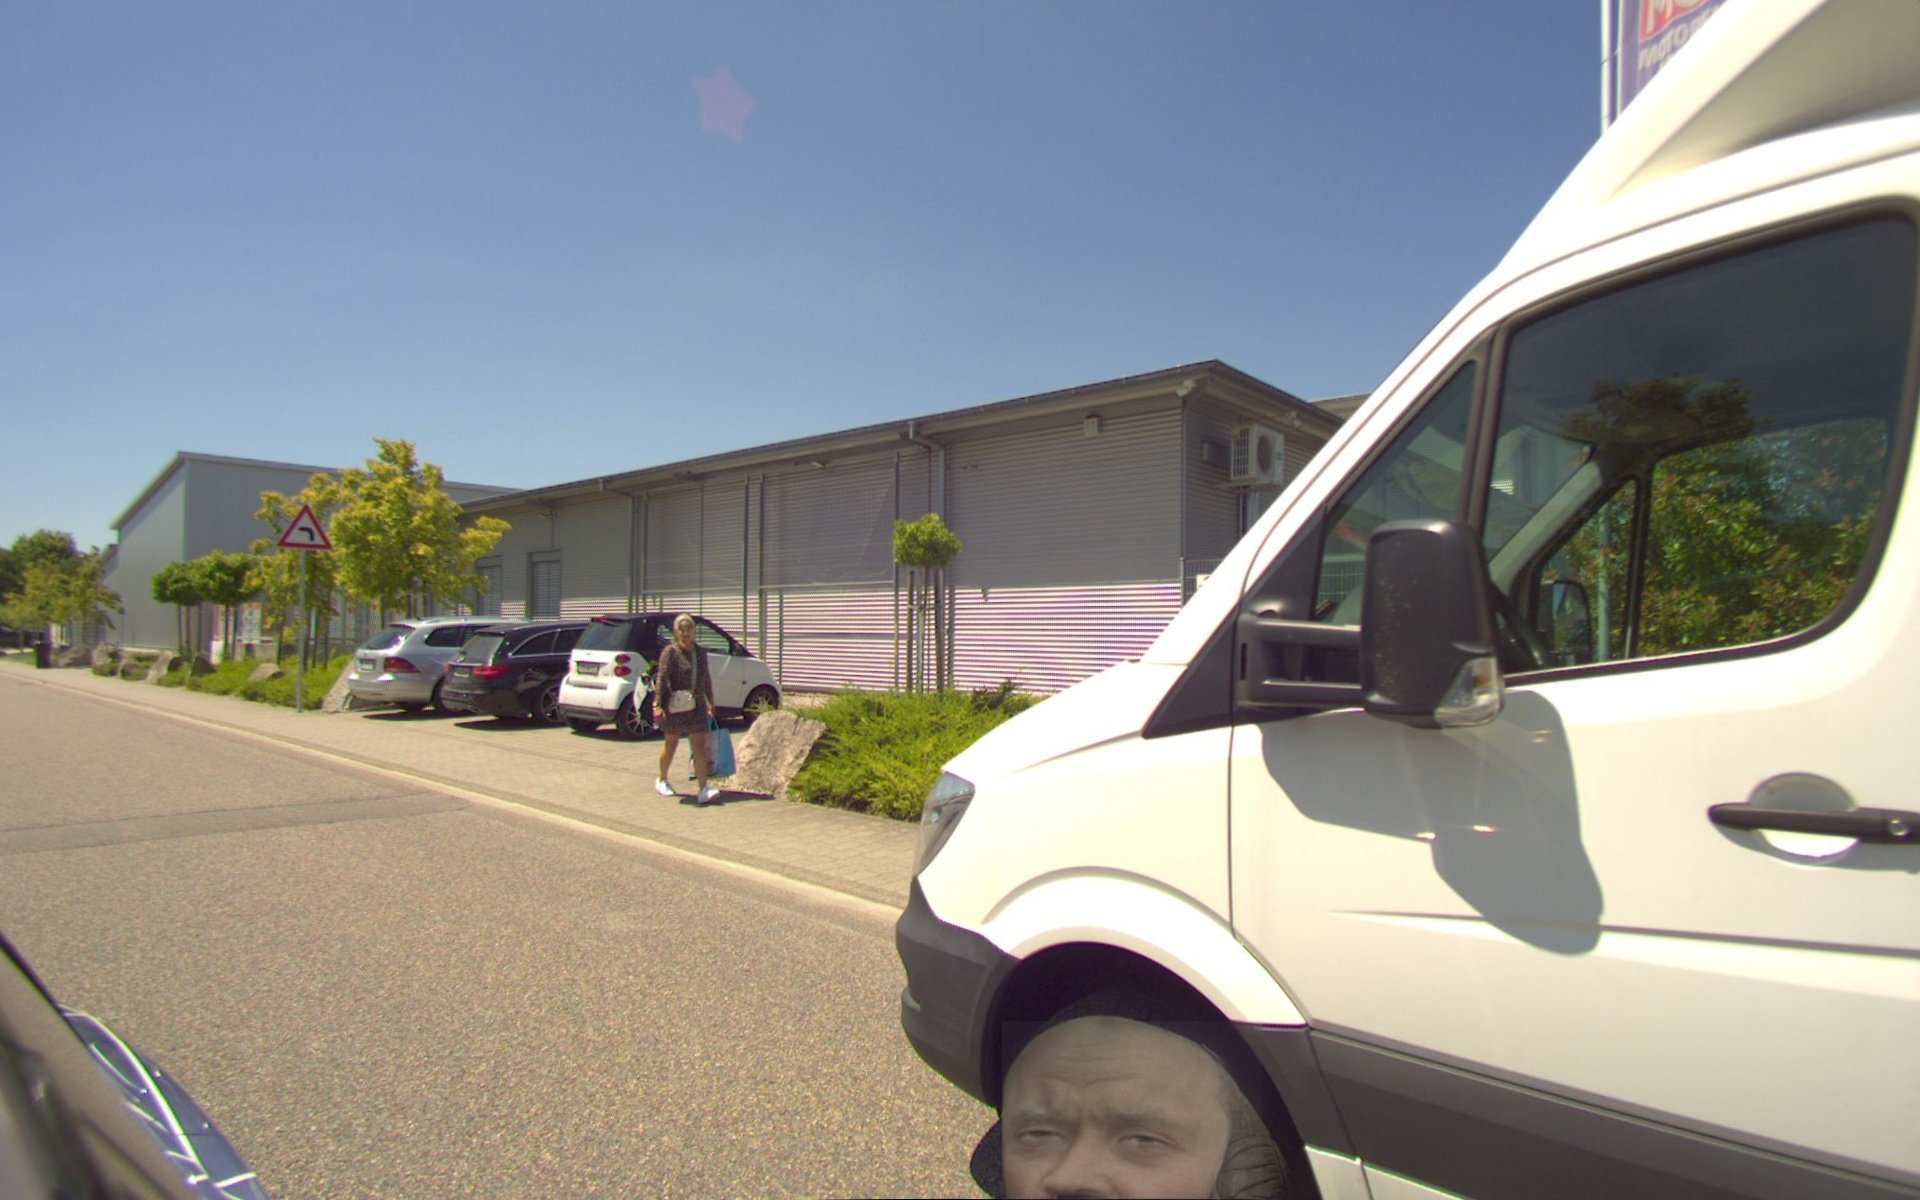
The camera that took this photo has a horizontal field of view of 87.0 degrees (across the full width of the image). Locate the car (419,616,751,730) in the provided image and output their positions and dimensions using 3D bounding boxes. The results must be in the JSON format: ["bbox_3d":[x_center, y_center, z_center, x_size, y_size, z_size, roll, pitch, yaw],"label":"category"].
[{"bbox_3d":[-5.415,0.985,15.054,1.846,1.442,4.262,-1,-2,42],"label":"car"}]

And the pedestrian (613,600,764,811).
[{"bbox_3d":[-2.206,0.802,8.248,0.785,1.586,0.889,-2,-1,42],"label":"pedestrian"}]

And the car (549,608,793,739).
[{"bbox_3d":[-3.755,0.904,13.380,1.534,1.529,2.713,-1,-2,40],"label":"car"}]

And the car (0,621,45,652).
[{"bbox_3d":[-56.955,2.231,59.737,1.781,1.671,4.120,-1,3,41],"label":"car"}]

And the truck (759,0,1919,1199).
[{"bbox_3d":[2.721,-0.029,1.184,6.413,2.882,2.336,-1,-4,42],"label":"truck"}]

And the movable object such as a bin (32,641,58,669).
[{"bbox_3d":[-32.000,1.904,35.386,0.511,0.957,0.565,-2,-2,36],"label":"movable object such as a bin"}]

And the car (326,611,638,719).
[{"bbox_3d":[-7.645,0.981,16.519,1.865,1.529,4.218,-1,-2,40],"label":"car"}]

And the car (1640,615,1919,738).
[{"bbox_3d":[11.647,0.917,12.873,4.767,1.427,1.911,-1,-1,41],"label":"car"}]
